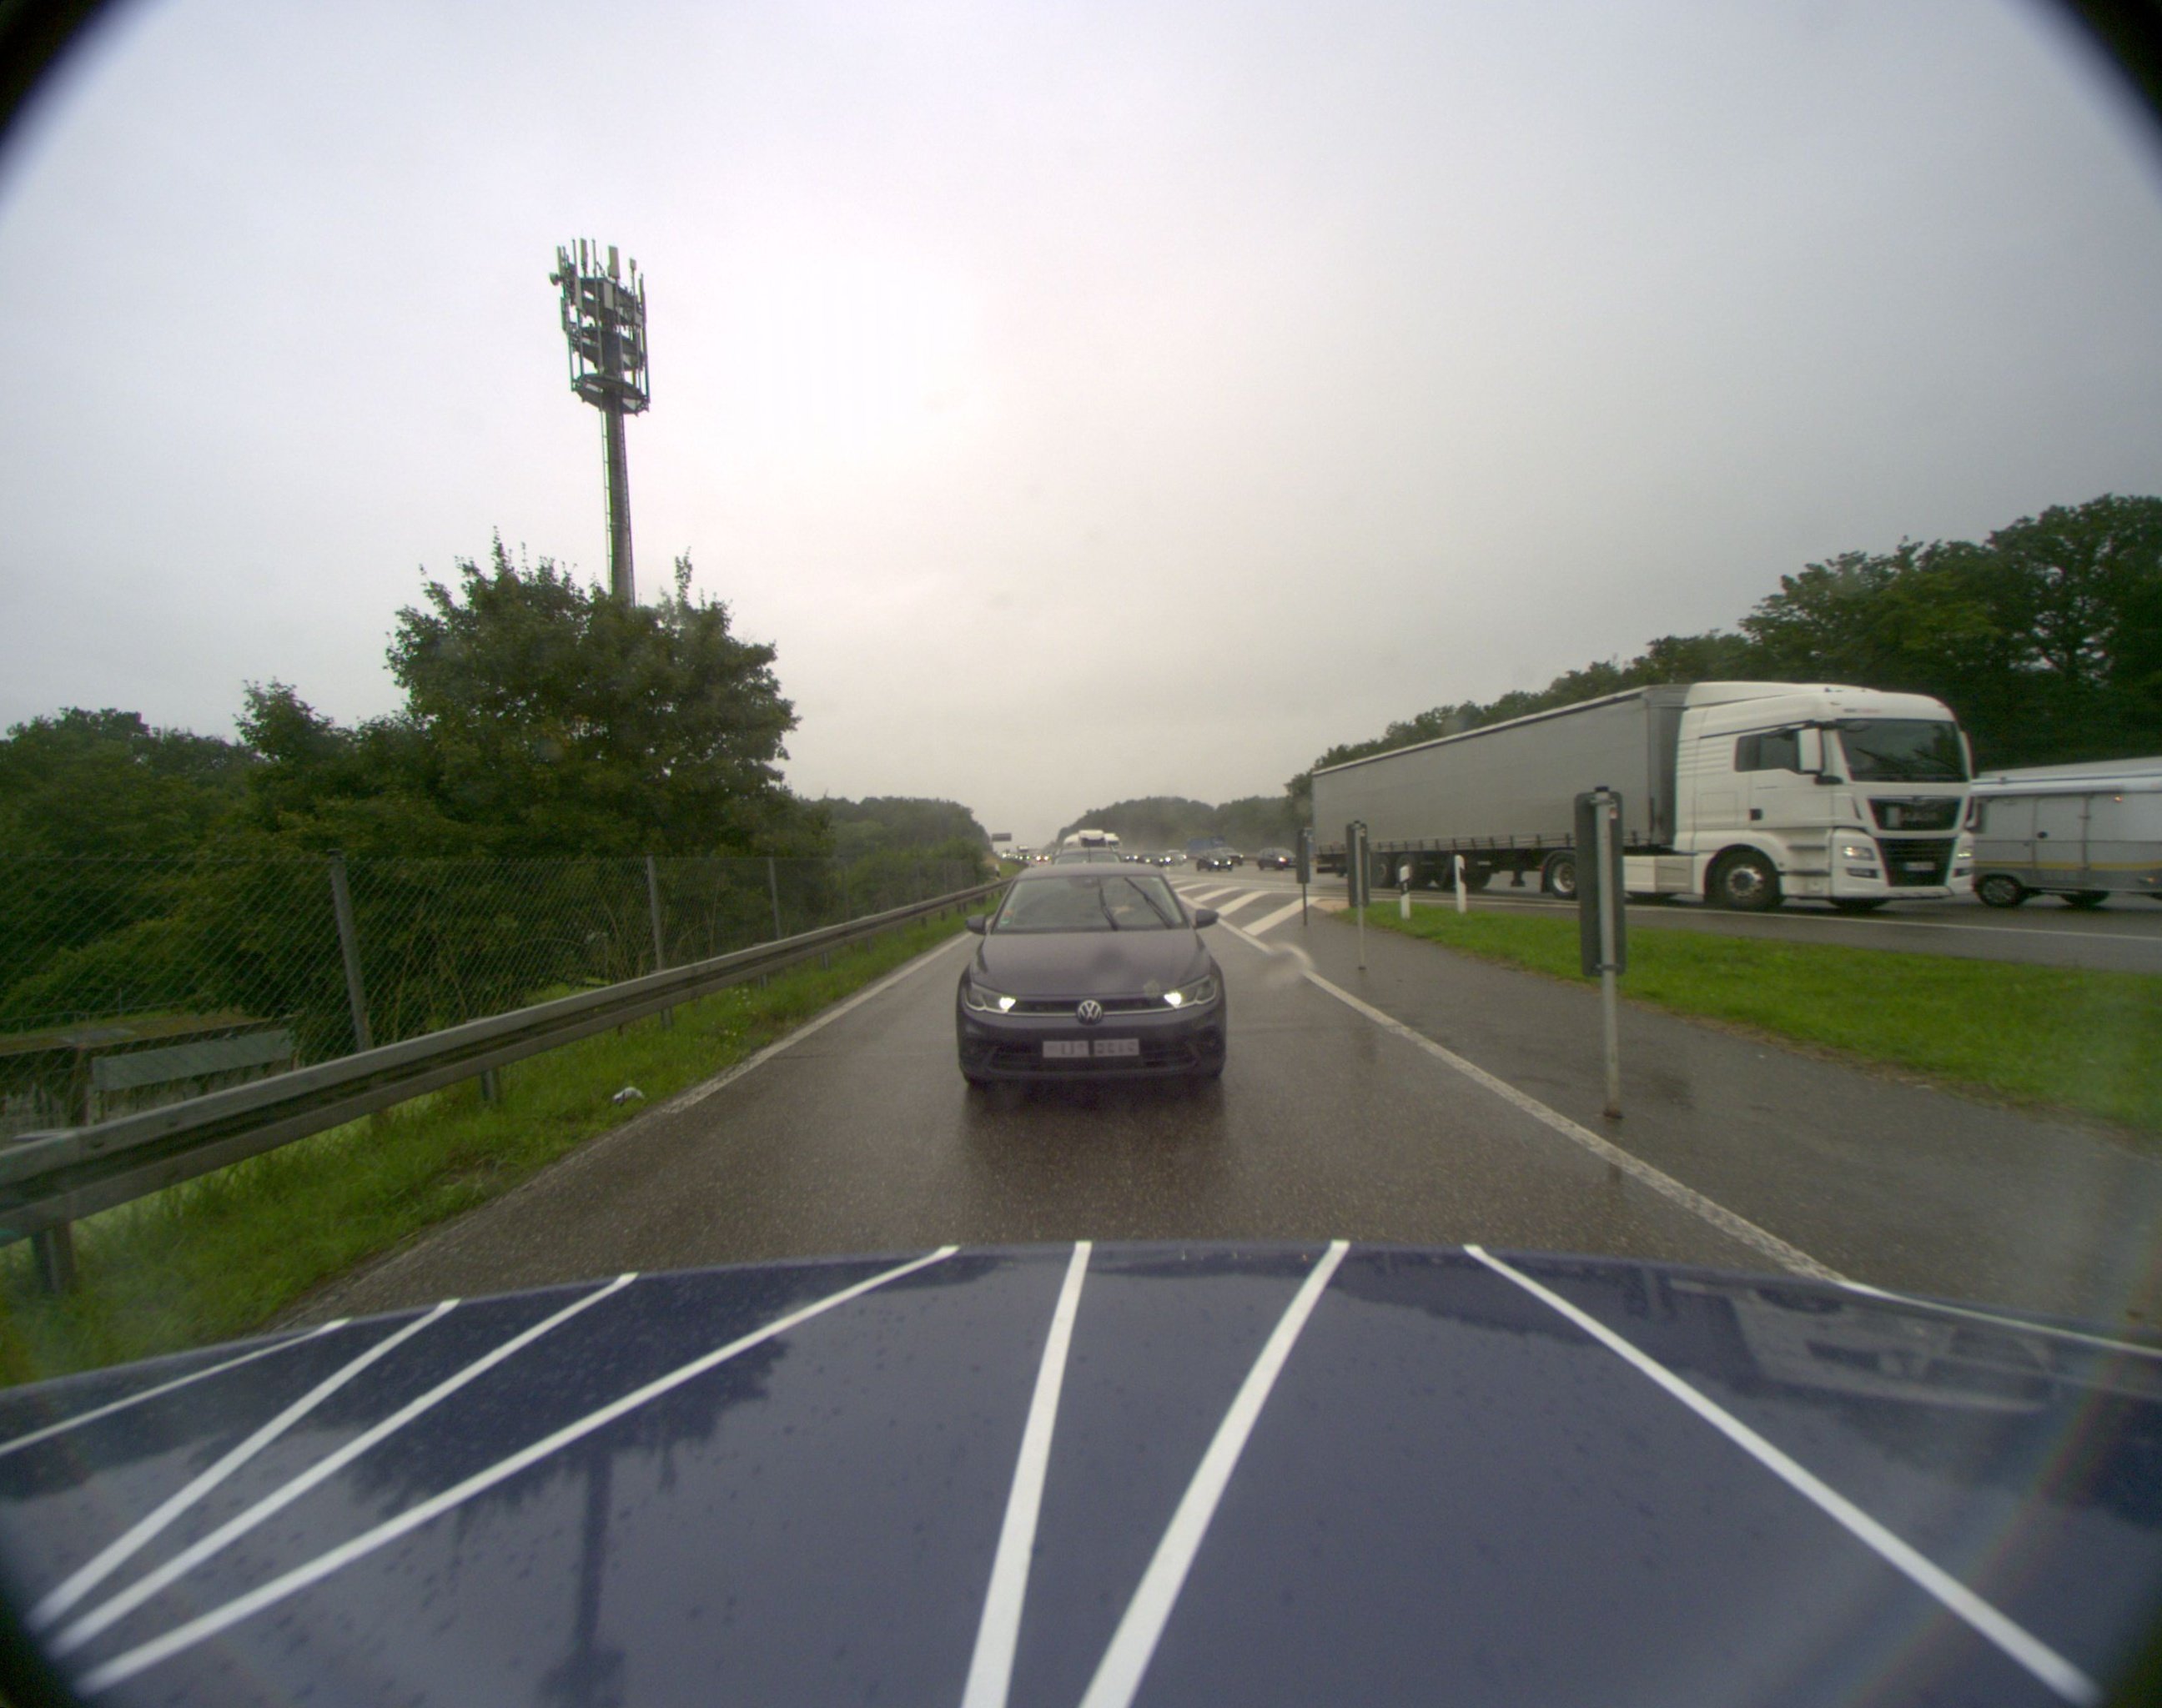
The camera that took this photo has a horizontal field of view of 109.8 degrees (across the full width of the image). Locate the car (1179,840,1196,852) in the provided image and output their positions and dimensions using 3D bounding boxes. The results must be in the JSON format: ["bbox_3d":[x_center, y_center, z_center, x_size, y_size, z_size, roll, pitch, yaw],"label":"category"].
[{"bbox_3d":[19.462,-1.449,138.876,2.000,2.002,3.997,-1,0,-6],"label":"car"}]

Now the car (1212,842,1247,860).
[{"bbox_3d":[14.258,-0.276,73.239,1.824,1.658,4.401,0,0,-9],"label":"car"}]

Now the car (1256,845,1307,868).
[{"bbox_3d":[13.509,0.196,51.449,1.824,1.406,4.121,-1,-1,-9],"label":"car"}]

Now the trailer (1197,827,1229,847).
[{"bbox_3d":[24.396,-3.063,140.840,2.740,3.397,11.392,-3,0,-6],"label":"trailer"}]

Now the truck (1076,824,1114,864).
[{"bbox_3d":[1.417,-0.957,80.564,2.759,3.985,6.503,-2,0,-10],"label":"truck"}]

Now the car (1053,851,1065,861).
[{"bbox_3d":[-4.330,0.388,151.449,1.927,1.852,3.997,-7,2,-5],"label":"car"}]

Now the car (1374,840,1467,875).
[{"bbox_3d":[15.892,0.144,35.851,1.886,1.472,4.499,-1,0,-9],"label":"car"}]

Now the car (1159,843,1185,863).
[{"bbox_3d":[9.522,-0.085,79.973,1.862,2.002,3.998,-1,0,-5],"label":"car"}]

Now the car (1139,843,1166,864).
[{"bbox_3d":[6.831,-0.004,73.174,1.766,1.892,3.998,-3,0,-5],"label":"car"}]

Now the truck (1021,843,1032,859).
[{"bbox_3d":[-14.815,-0.801,208.036,2.597,4.120,5.229,-5,0,-2],"label":"truck"}]

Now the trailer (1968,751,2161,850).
[{"bbox_3d":[39.900,-1.953,25.696,2.657,3.477,13.474,-2,0,-9],"label":"trailer"}]

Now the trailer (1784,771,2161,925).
[{"bbox_3d":[15.748,-0.076,13.035,2.136,2.143,5.175,0,0,-10],"label":"trailer"}]

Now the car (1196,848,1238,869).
[{"bbox_3d":[9.418,0.305,52.935,1.823,1.364,3.998,-1,0,-6],"label":"car"}]

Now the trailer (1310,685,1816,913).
[{"bbox_3d":[10.688,-0.944,20.381,2.904,3.959,14.107,-1,0,-8],"label":"trailer"}]

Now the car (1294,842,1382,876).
[{"bbox_3d":[12.058,0.219,36.016,1.886,1.472,4.497,-1,0,-12],"label":"car"}]

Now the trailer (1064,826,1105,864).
[{"bbox_3d":[0.245,-0.916,87.646,2.771,4.002,11.033,-2,0,-9],"label":"trailer"}]

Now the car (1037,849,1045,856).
[{"bbox_3d":[-11.414,-0.404,217.167,1.775,1.668,3.997,-4,1,-7],"label":"car"}]

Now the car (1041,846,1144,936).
[{"bbox_3d":[0.267,0.684,16.258,1.810,1.532,4.000,-5,0,1],"label":"car"}]

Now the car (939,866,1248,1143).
[{"bbox_3d":[0.068,0.890,6.456,1.670,1.394,4.261,-4,0,0],"label":"car"}]

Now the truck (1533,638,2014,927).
[{"bbox_3d":[11.684,-1.012,13.748,2.882,4.029,5.930,-1,0,-8],"label":"truck"}]

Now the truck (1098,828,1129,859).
[{"bbox_3d":[4.097,-1.282,96.469,2.698,3.635,5.321,-5,1,-8],"label":"truck"}]

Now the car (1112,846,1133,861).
[{"bbox_3d":[5.792,-0.095,106.318,2.000,2.002,4.109,-2,0,-9],"label":"car"}]

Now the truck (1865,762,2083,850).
[{"bbox_3d":[38.719,-1.947,33.259,2.655,3.432,5.596,-2,0,-9],"label":"truck"}]

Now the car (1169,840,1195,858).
[{"bbox_3d":[12.221,-0.581,92.464,2.000,2.002,3.997,-2,0,-9],"label":"car"}]

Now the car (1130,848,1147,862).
[{"bbox_3d":[8.824,0.087,117.216,1.999,2.002,3.998,-2,1,-3],"label":"car"}]
